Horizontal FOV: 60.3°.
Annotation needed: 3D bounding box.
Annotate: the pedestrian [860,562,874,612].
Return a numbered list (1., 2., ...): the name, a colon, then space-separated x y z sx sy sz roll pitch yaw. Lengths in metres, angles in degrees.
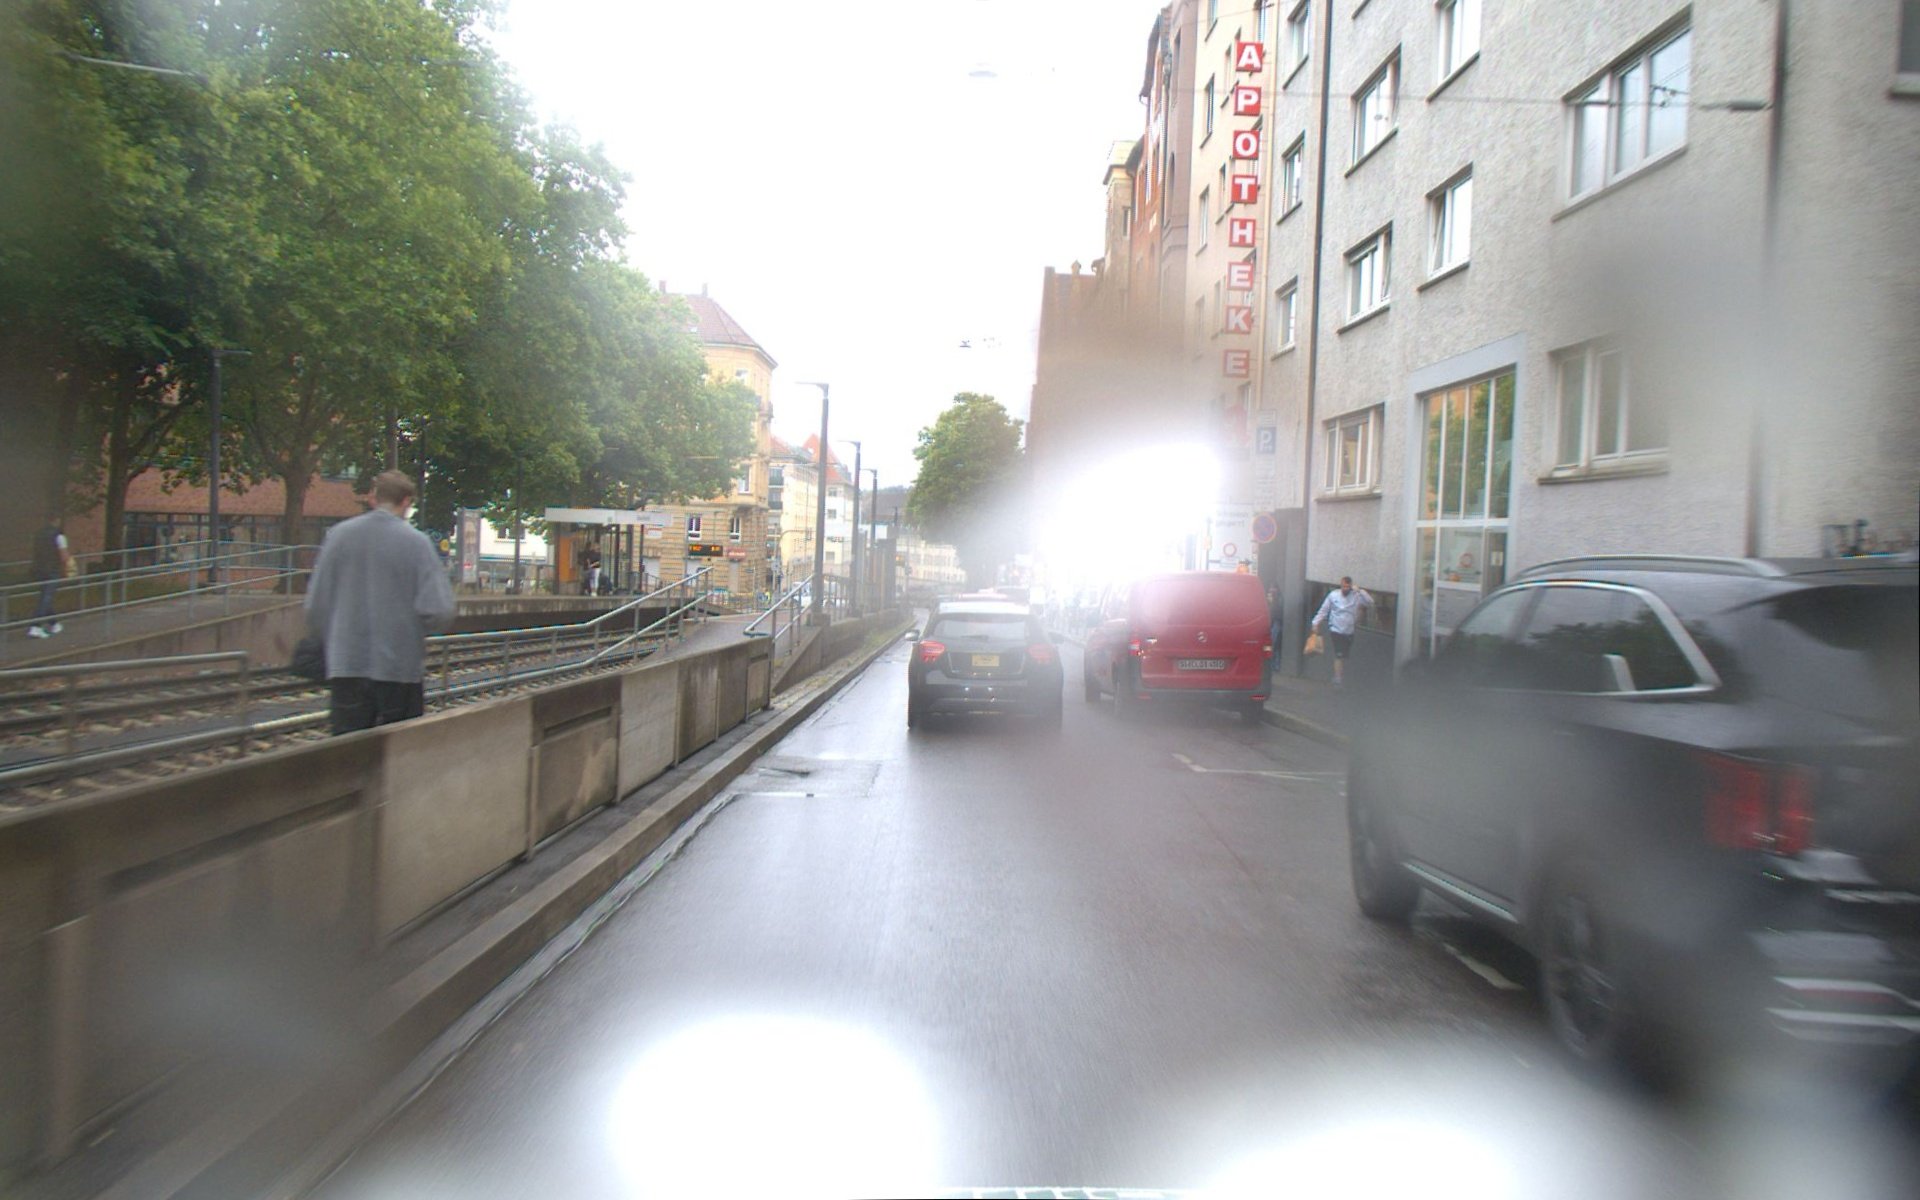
1. pedestrian: -3.097 -0.438 55.173 0.401 1.633 0.450 1 -1 -6

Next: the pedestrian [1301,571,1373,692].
1. pedestrian: 5.739 0.474 25.234 0.834 1.788 0.837 3 0 0

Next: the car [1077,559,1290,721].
1. car: 2.843 0.502 22.237 1.935 1.870 5.243 1 -1 -2

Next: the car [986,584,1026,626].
1. car: 2.264 0.257 82.079 1.881 1.970 4.685 2 -1 1

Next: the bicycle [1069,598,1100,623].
1. bicycle: 5.672 0.487 75.324 0.457 1.135 1.676 -1 -1 45

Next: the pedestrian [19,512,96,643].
1. pedestrian: -12.091 -0.316 22.176 0.644 1.691 0.688 2 3 -1

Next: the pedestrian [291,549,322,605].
1. pedestrian: -24.347 -0.839 61.647 0.717 2.049 0.980 2 -1 0

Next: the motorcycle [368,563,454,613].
1. motorcycle: -21.434 -0.460 64.608 2.975 1.847 0.993 2 -1 -2

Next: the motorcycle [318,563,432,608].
1. motorcycle: -21.803 -0.537 61.693 3.786 1.514 1.006 2 -1 -2

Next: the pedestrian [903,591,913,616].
1. pedestrian: -3.207 0.210 101.650 0.521 1.557 0.436 2 -1 -8

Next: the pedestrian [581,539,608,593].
1. pedestrian: -11.677 -1.090 52.799 0.672 1.670 0.564 3 0 -3

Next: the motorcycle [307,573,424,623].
1. motorcycle: -21.435 -0.057 59.690 3.786 1.633 1.006 2 -1 -2

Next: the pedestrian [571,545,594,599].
1. pedestrian: -12.429 -0.909 54.460 0.551 1.745 0.705 3 0 -2

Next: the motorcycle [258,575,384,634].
1. motorcycle: -21.744 0.168 56.317 3.786 1.847 1.006 2 -1 -2

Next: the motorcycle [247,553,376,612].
1. motorcycle: -21.489 -0.569 54.836 3.786 1.805 1.006 2 -1 -2

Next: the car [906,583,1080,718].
1. car: 0.373 0.524 19.842 1.856 1.414 4.000 1 1 0

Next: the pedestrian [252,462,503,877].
1. pedestrian: -2.723 0.312 7.817 0.841 1.830 0.787 2 0 -1

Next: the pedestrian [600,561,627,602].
1. pedestrian: -12.035 -0.638 57.463 0.761 1.386 0.564 3 0 -3

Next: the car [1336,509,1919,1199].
1. car: 2.842 0.654 6.448 1.729 1.738 4.499 2 0 0

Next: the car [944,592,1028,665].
1. car: 0.531 0.605 36.871 1.646 1.515 3.611 1 0 -2

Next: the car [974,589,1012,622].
1. car: 1.939 0.325 97.519 1.894 1.863 4.278 2 0 -3

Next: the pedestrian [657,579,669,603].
1. pedestrian: -21.740 -0.664 121.089 0.745 1.780 0.645 1 0 1

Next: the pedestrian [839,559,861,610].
1. pedestrian: -3.516 -0.494 53.028 0.485 1.633 0.637 1 -1 16

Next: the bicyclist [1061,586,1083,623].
1. bicyclist: 5.129 0.205 75.883 0.844 1.686 0.621 1 -1 -44
